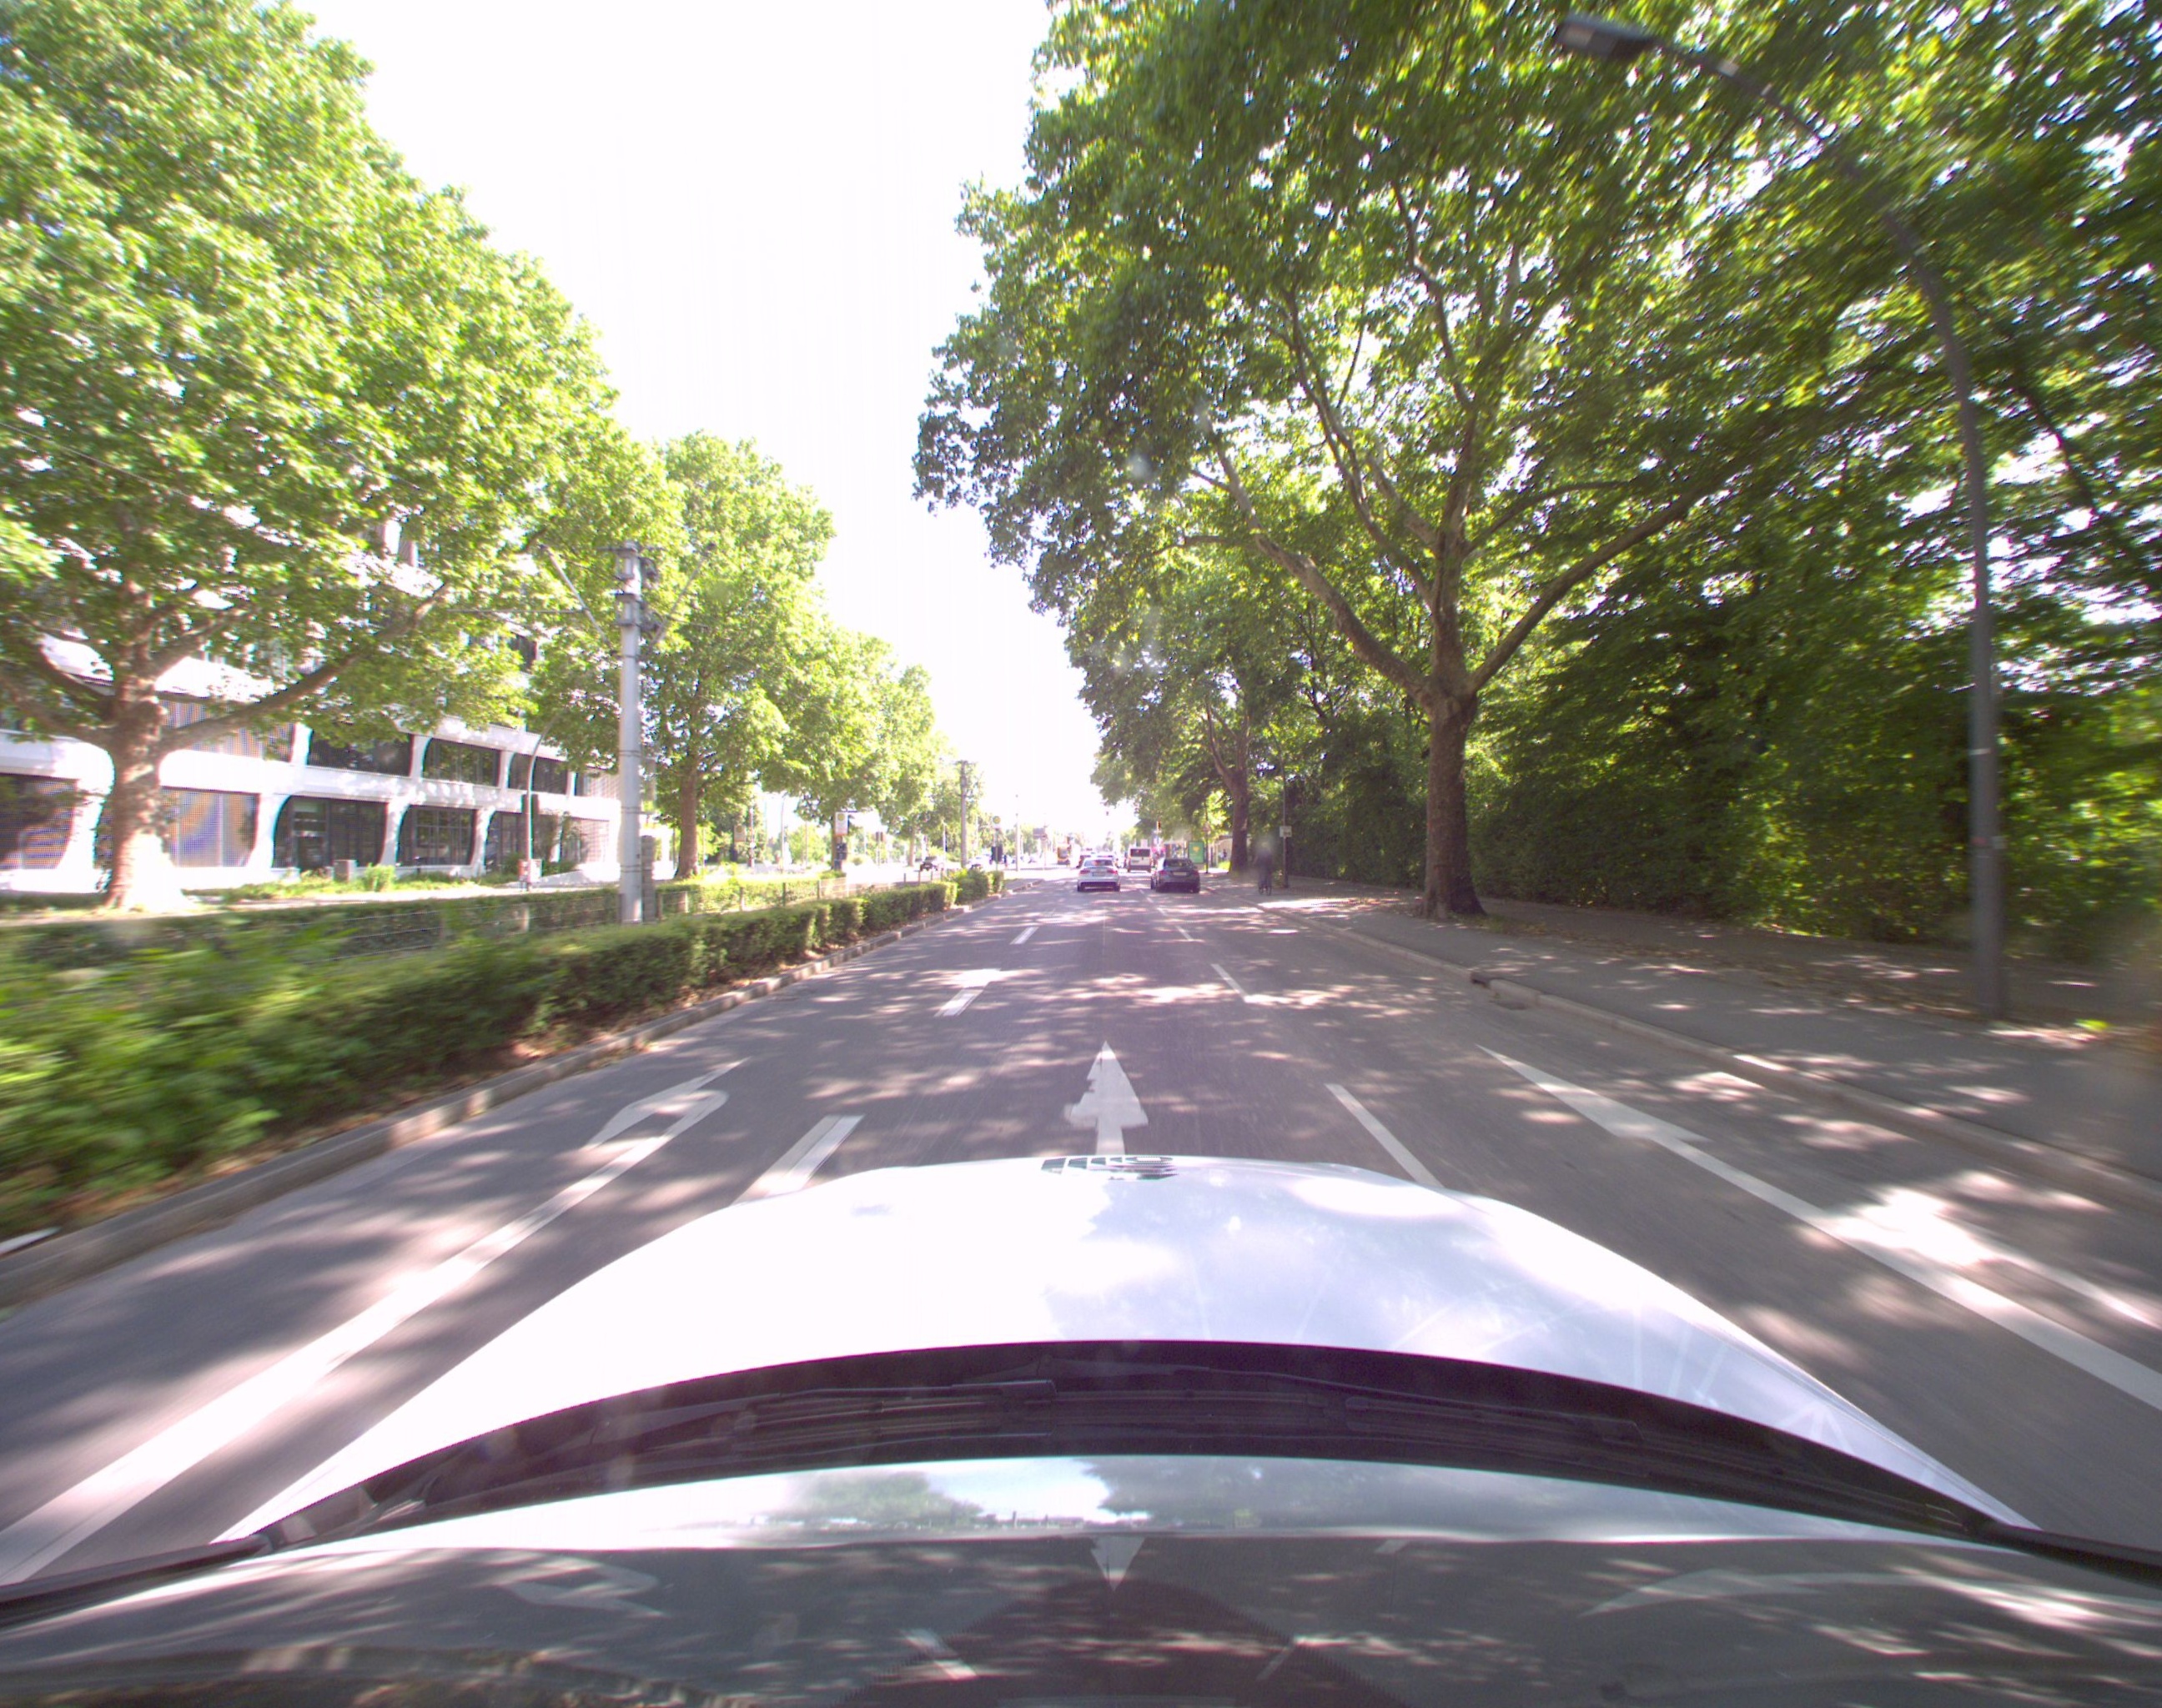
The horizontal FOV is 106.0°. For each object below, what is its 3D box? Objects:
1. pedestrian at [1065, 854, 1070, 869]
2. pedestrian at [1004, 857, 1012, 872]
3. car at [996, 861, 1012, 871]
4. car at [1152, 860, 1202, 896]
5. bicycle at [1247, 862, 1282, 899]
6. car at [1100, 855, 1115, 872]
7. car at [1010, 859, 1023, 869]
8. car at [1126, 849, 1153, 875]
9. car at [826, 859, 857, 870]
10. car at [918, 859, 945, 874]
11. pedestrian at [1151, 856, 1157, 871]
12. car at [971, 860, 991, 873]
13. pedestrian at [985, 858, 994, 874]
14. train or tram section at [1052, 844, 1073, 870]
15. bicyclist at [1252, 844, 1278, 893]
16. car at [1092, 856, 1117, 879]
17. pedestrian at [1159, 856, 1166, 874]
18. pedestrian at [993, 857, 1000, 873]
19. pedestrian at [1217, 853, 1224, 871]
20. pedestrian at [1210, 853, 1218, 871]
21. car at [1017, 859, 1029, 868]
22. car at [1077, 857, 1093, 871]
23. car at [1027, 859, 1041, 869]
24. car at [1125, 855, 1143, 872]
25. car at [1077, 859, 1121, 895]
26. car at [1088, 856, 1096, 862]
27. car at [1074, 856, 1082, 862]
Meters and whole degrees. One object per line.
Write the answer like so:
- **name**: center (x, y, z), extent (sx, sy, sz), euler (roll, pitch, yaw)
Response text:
- **pedestrian**: center (-1.724, 0.990, 103.987), extent (0.621, 1.918, 0.690), euler (0, -1, 2)
- **pedestrian**: center (-8.444, 1.265, 94.169), extent (0.769, 1.734, 0.756), euler (0, -1, 10)
- **car**: center (-11.782, 1.778, 124.363), extent (1.789, 1.489, 4.388), euler (0, 0, 3)
- **car**: center (4.005, 0.975, 34.411), extent (1.775, 1.420, 4.002), euler (0, 0, 2)
- **bicycle**: center (6.399, 0.903, 28.476), extent (0.712, 1.148, 2.179), euler (-3, 2, 1)
- **car**: center (3.200, 1.127, 97.009), extent (1.722, 1.901, 4.002), euler (0, 0, 2)
- **car**: center (-11.320, 1.768, 143.763), extent (1.863, 1.609, 4.002), euler (0, 0, 2)
- **car**: center (5.136, 0.701, 71.906), extent (2.221, 2.212, 4.164), euler (0, -1, 2)
- **car**: center (-33.917, 1.552, 115.564), extent (3.832, 1.549, 1.770), euler (0, -1, 2)
- **car**: center (-16.377, 1.344, 89.376), extent (1.823, 1.624, 4.898), euler (0, 0, 2)
- **pedestrian**: center (8.440, 1.146, 94.187), extent (0.600, 1.694, 0.954), euler (-2, -1, 2)
- **car**: center (-11.974, 1.468, 97.841), extent (1.804, 1.563, 4.306), euler (0, 0, 2)
- **pedestrian**: center (-9.356, 1.230, 83.022), extent (0.760, 1.623, 0.590), euler (0, -1, -23)
- **train or tram section**: center (-2.827, 0.487, 126.352), extent (2.606, 4.015, 7.753), euler (0, 0, 3)
- **bicyclist**: center (6.375, 0.497, 28.317), extent (0.632, 1.648, 0.979), euler (-3, 1, 1)
- **car**: center (1.713, 0.970, 58.465), extent (1.722, 1.605, 3.887), euler (0, 0, 2)
- **pedestrian**: center (8.772, 1.155, 87.729), extent (0.633, 1.946, 0.719), euler (0, -1, 2)
- **pedestrian**: center (-9.077, 1.174, 87.510), extent (0.590, 1.646, 0.555), euler (0, -1, 2)
- **pedestrian**: center (14.264, 0.817, 83.203), extent (0.611, 1.896, 0.597), euler (-1, -1, -1)
- **pedestrian**: center (13.596, 0.825, 83.292), extent (0.611, 1.896, 0.694), euler (-1, -1, -1)
- **car**: center (-11.130, 1.817, 155.860), extent (1.756, 1.609, 3.862), euler (0, 0, 3)
- **car**: center (0.470, 1.132, 96.868), extent (1.722, 1.631, 4.002), euler (0, 0, 2)
- **car**: center (-8.310, 1.774, 143.896), extent (1.985, 1.734, 4.002), euler (0, 0, 2)
- **car**: center (6.374, 1.143, 97.658), extent (2.064, 1.999, 4.060), euler (0, 0, 2)
- **car**: center (0.798, 0.948, 34.974), extent (1.778, 1.420, 3.887), euler (0, 0, 2)
- **car**: center (2.934, 1.325, 212.083), extent (1.862, 1.609, 4.005), euler (0, 0, 4)
- **car**: center (-0.714, 1.301, 212.246), extent (1.862, 1.609, 4.005), euler (0, 0, 4)
